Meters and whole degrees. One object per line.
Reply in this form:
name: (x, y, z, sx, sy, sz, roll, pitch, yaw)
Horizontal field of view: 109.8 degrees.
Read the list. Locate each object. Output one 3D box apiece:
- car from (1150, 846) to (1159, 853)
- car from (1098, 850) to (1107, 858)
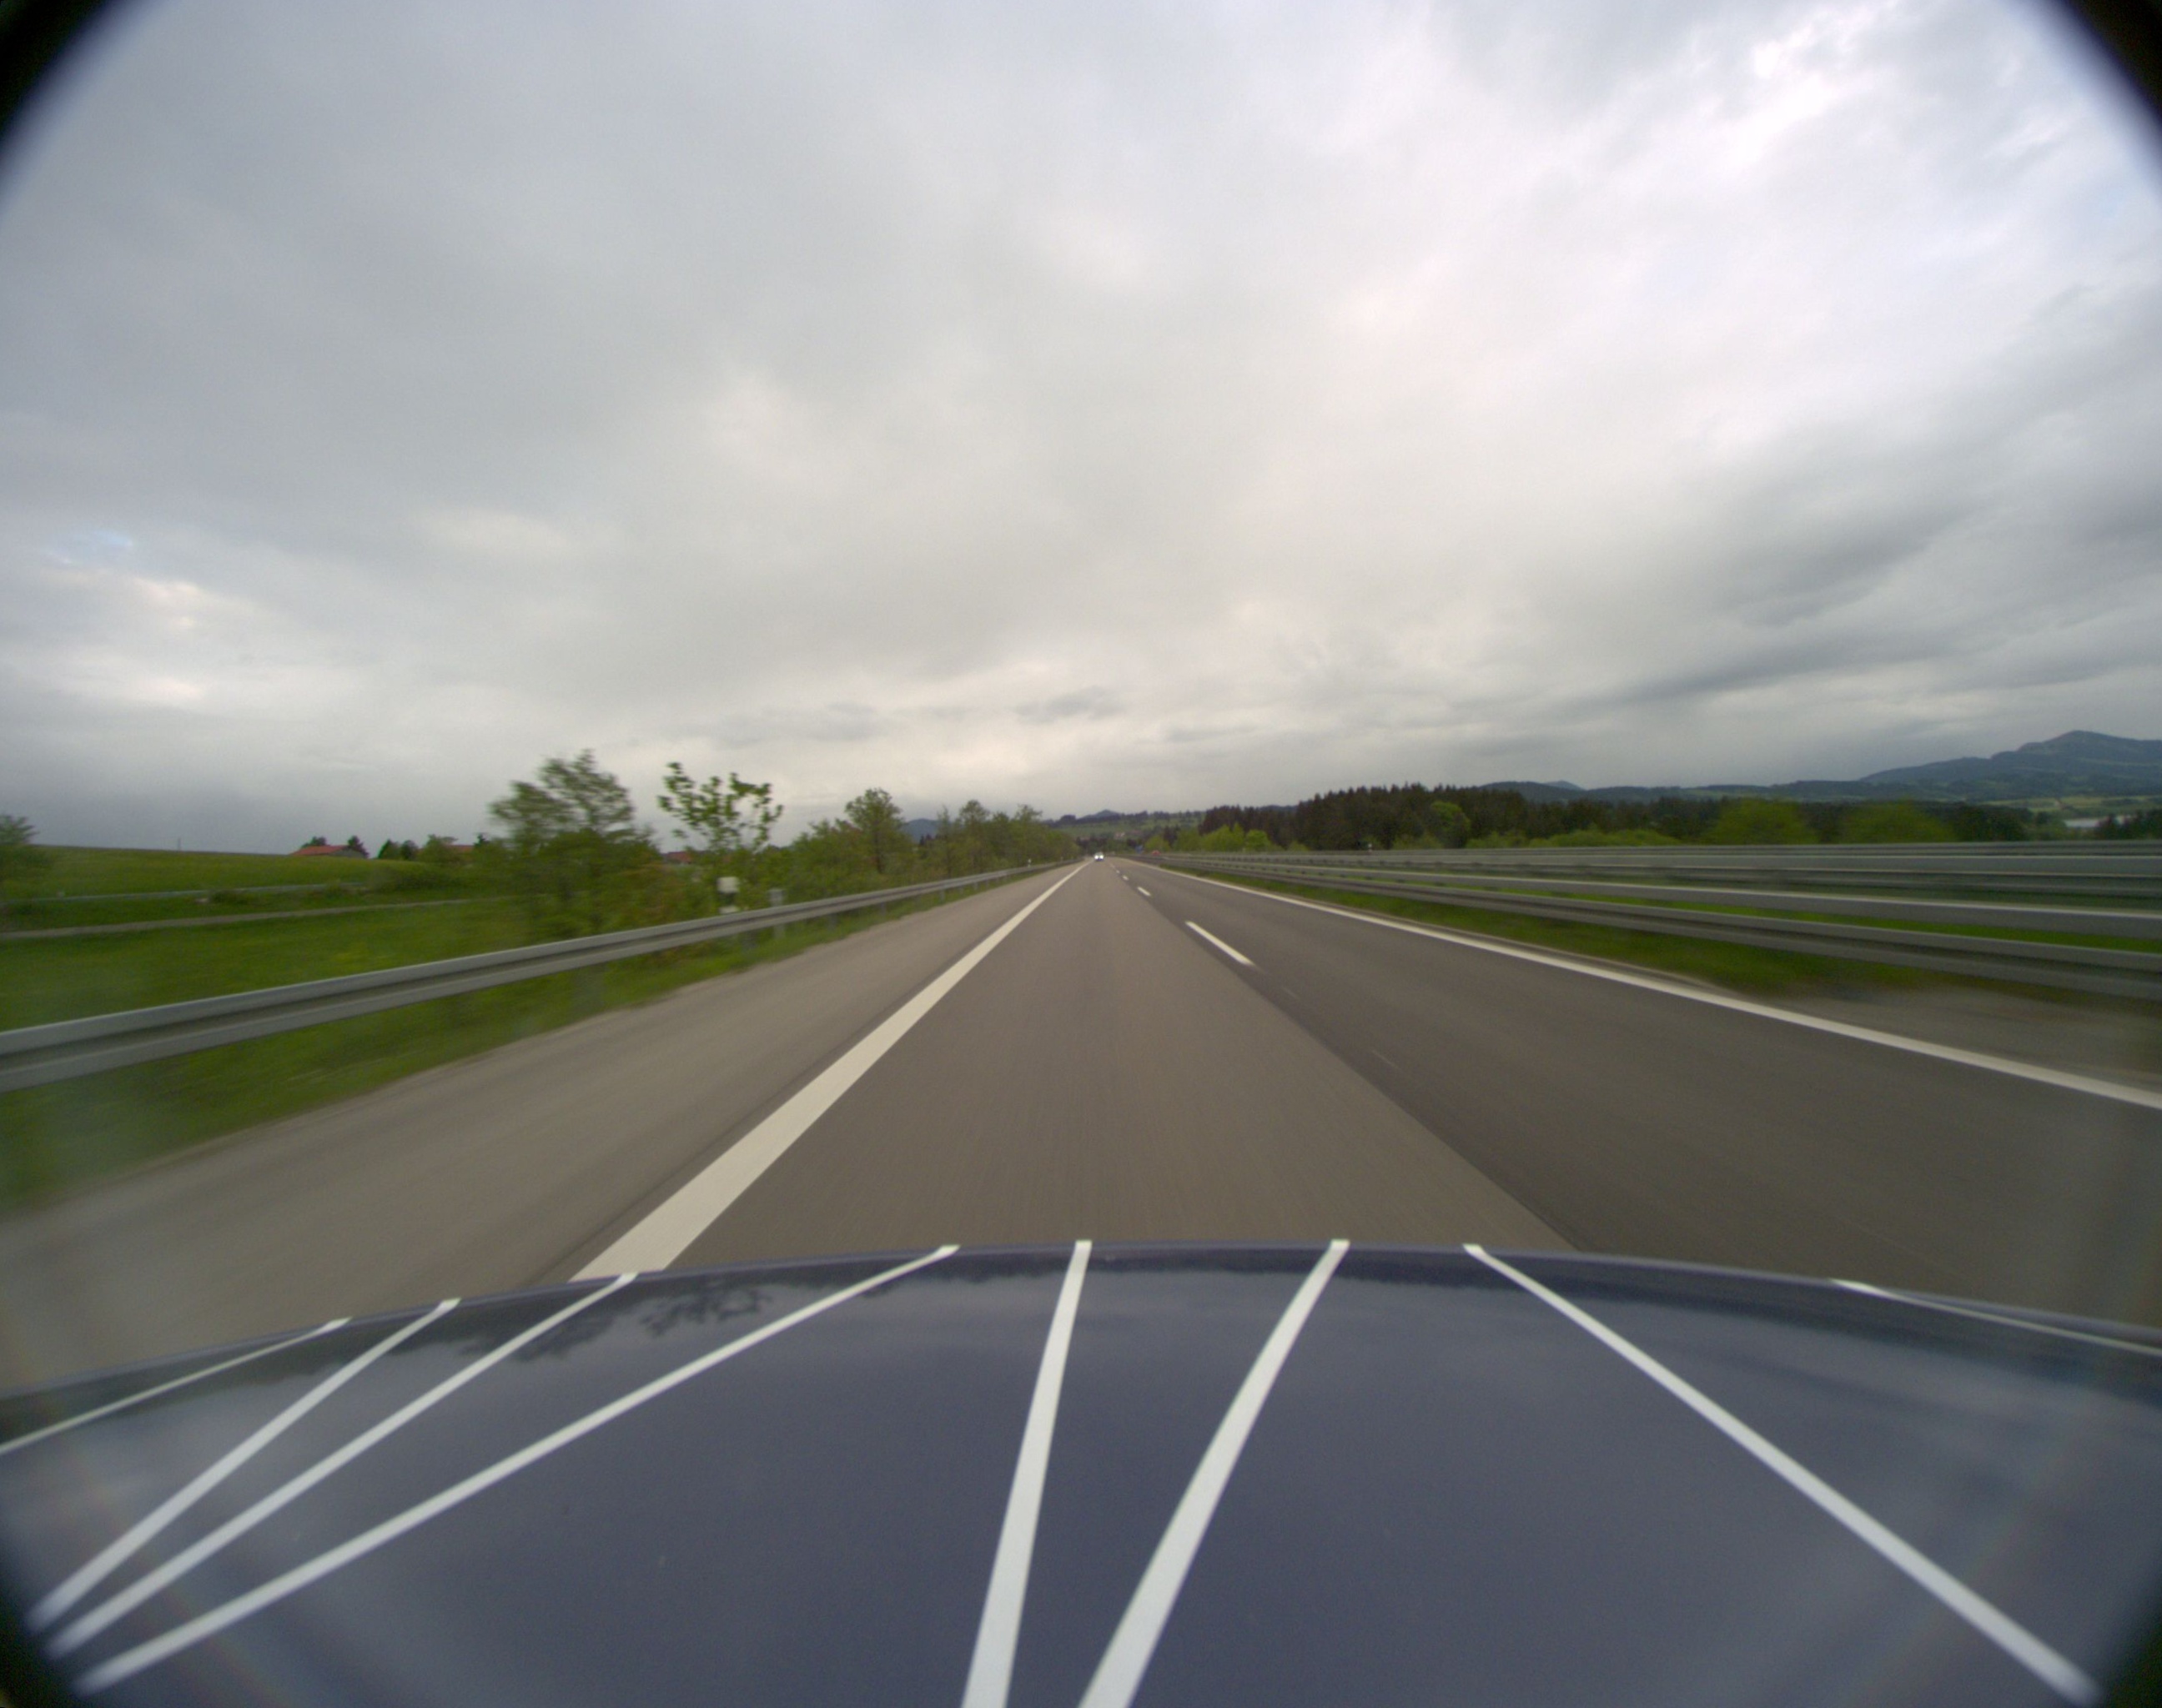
car: (21.098, -1.292, 217.166, 1.998, 1.607, 4.847, -4, 1, 1)
car: (4.894, 0.035, 173.709, 2.021, 1.899, 4.221, -2, 0, 1)
